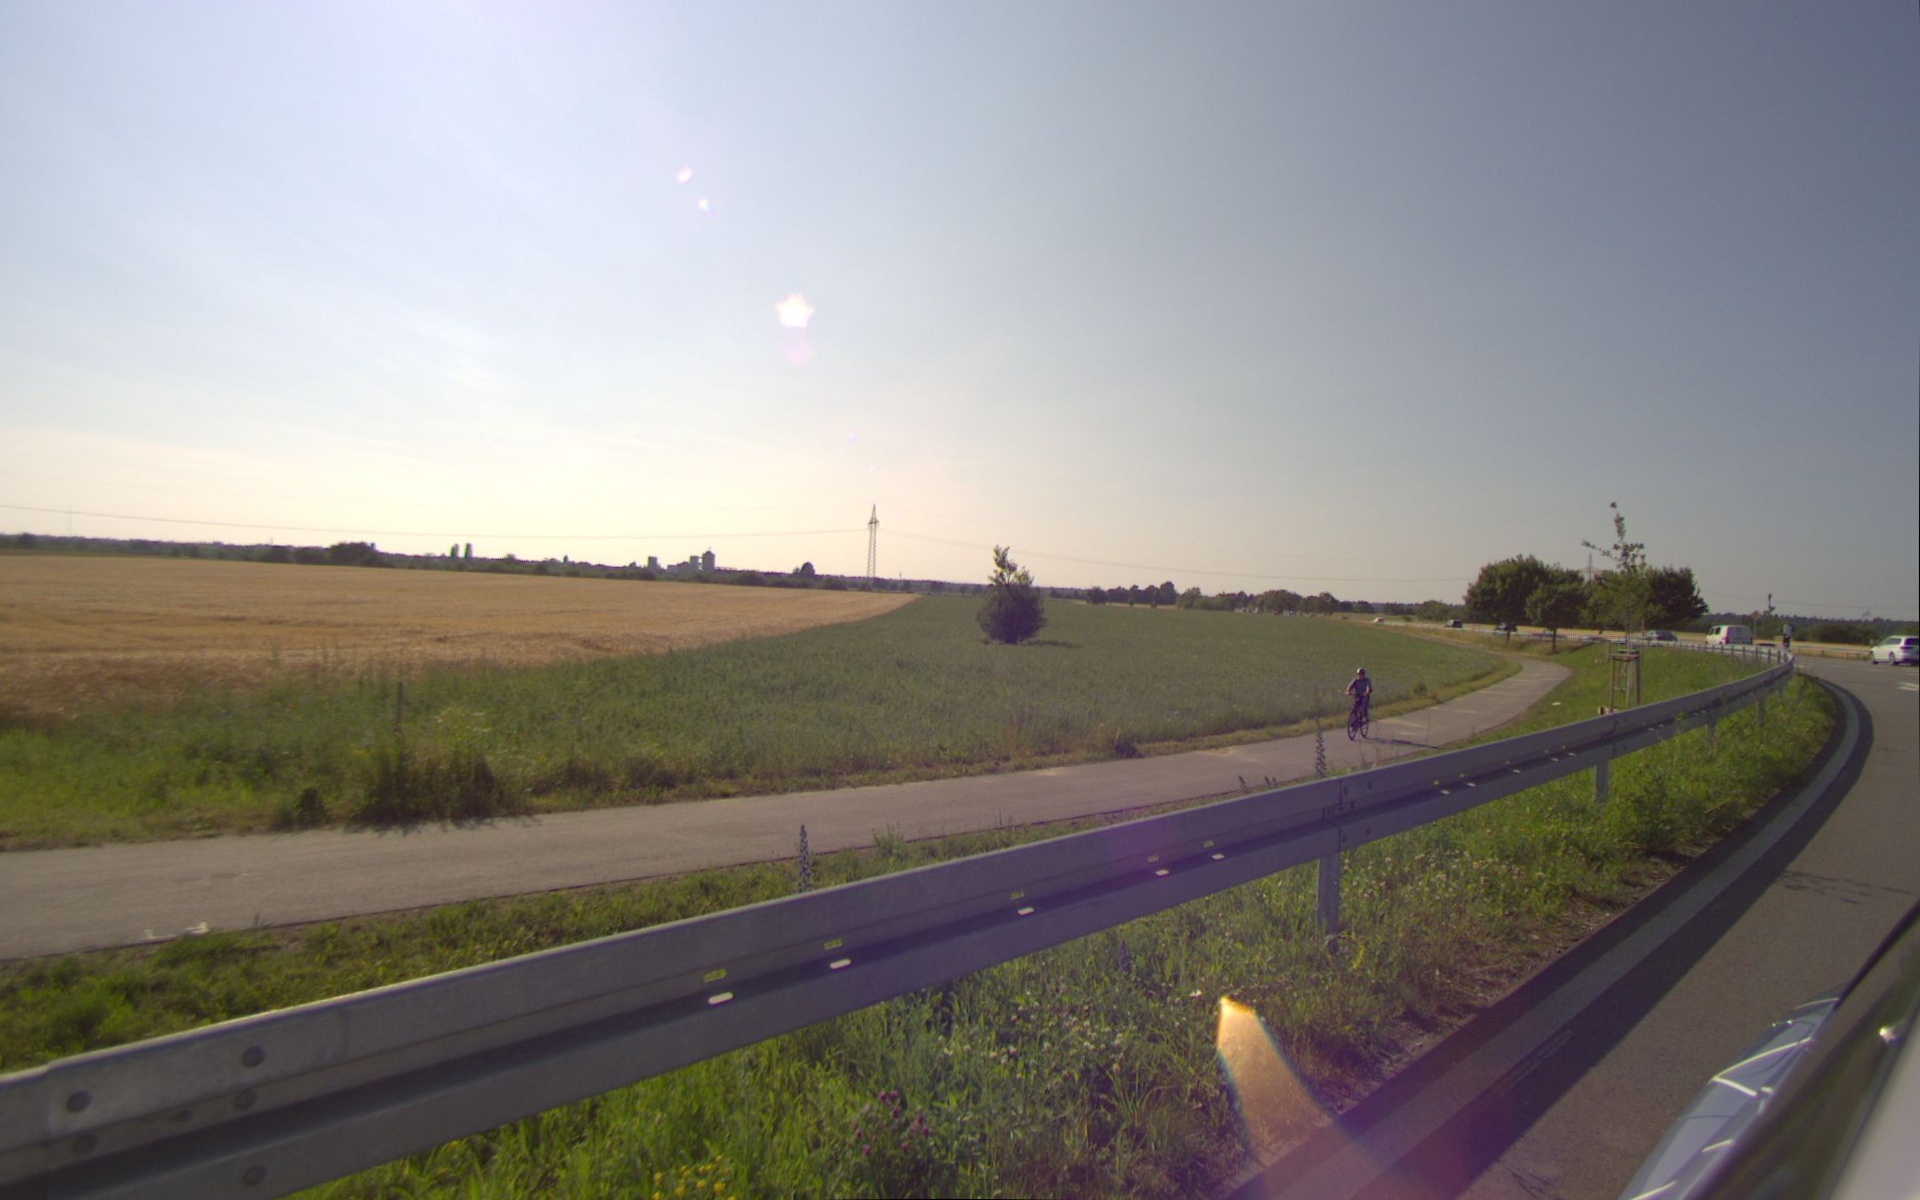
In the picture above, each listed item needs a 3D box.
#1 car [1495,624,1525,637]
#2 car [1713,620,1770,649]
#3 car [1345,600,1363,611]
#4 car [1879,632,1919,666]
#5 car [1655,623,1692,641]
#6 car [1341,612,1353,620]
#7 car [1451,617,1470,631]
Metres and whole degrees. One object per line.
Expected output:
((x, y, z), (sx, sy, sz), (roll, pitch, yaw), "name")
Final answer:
((73.969, 4.046, 136.166), (1.967, 1.613, 4.849), (2, 0, 9), "car")
((60.856, 2.731, 78.890), (2.096, 2.040, 5.114), (1, -3, 21), "car")
((79.281, 1.056, 203.741), (2.778, 2.039, 6.071), (0, 0, 16), "car")
((46.879, 2.440, 49.348), (2.105, 1.512, 5.091), (0, -3, 32), "car")
((64.278, 2.904, 91.220), (1.780, 1.467, 4.667), (1, -3, 23), "car")
((92.754, 3.830, 242.358), (1.813, 1.563, 4.235), (0, 1, 9), "car")
((77.858, 3.732, 157.414), (1.863, 1.820, 5.063), (0, 1, 18), "car")
